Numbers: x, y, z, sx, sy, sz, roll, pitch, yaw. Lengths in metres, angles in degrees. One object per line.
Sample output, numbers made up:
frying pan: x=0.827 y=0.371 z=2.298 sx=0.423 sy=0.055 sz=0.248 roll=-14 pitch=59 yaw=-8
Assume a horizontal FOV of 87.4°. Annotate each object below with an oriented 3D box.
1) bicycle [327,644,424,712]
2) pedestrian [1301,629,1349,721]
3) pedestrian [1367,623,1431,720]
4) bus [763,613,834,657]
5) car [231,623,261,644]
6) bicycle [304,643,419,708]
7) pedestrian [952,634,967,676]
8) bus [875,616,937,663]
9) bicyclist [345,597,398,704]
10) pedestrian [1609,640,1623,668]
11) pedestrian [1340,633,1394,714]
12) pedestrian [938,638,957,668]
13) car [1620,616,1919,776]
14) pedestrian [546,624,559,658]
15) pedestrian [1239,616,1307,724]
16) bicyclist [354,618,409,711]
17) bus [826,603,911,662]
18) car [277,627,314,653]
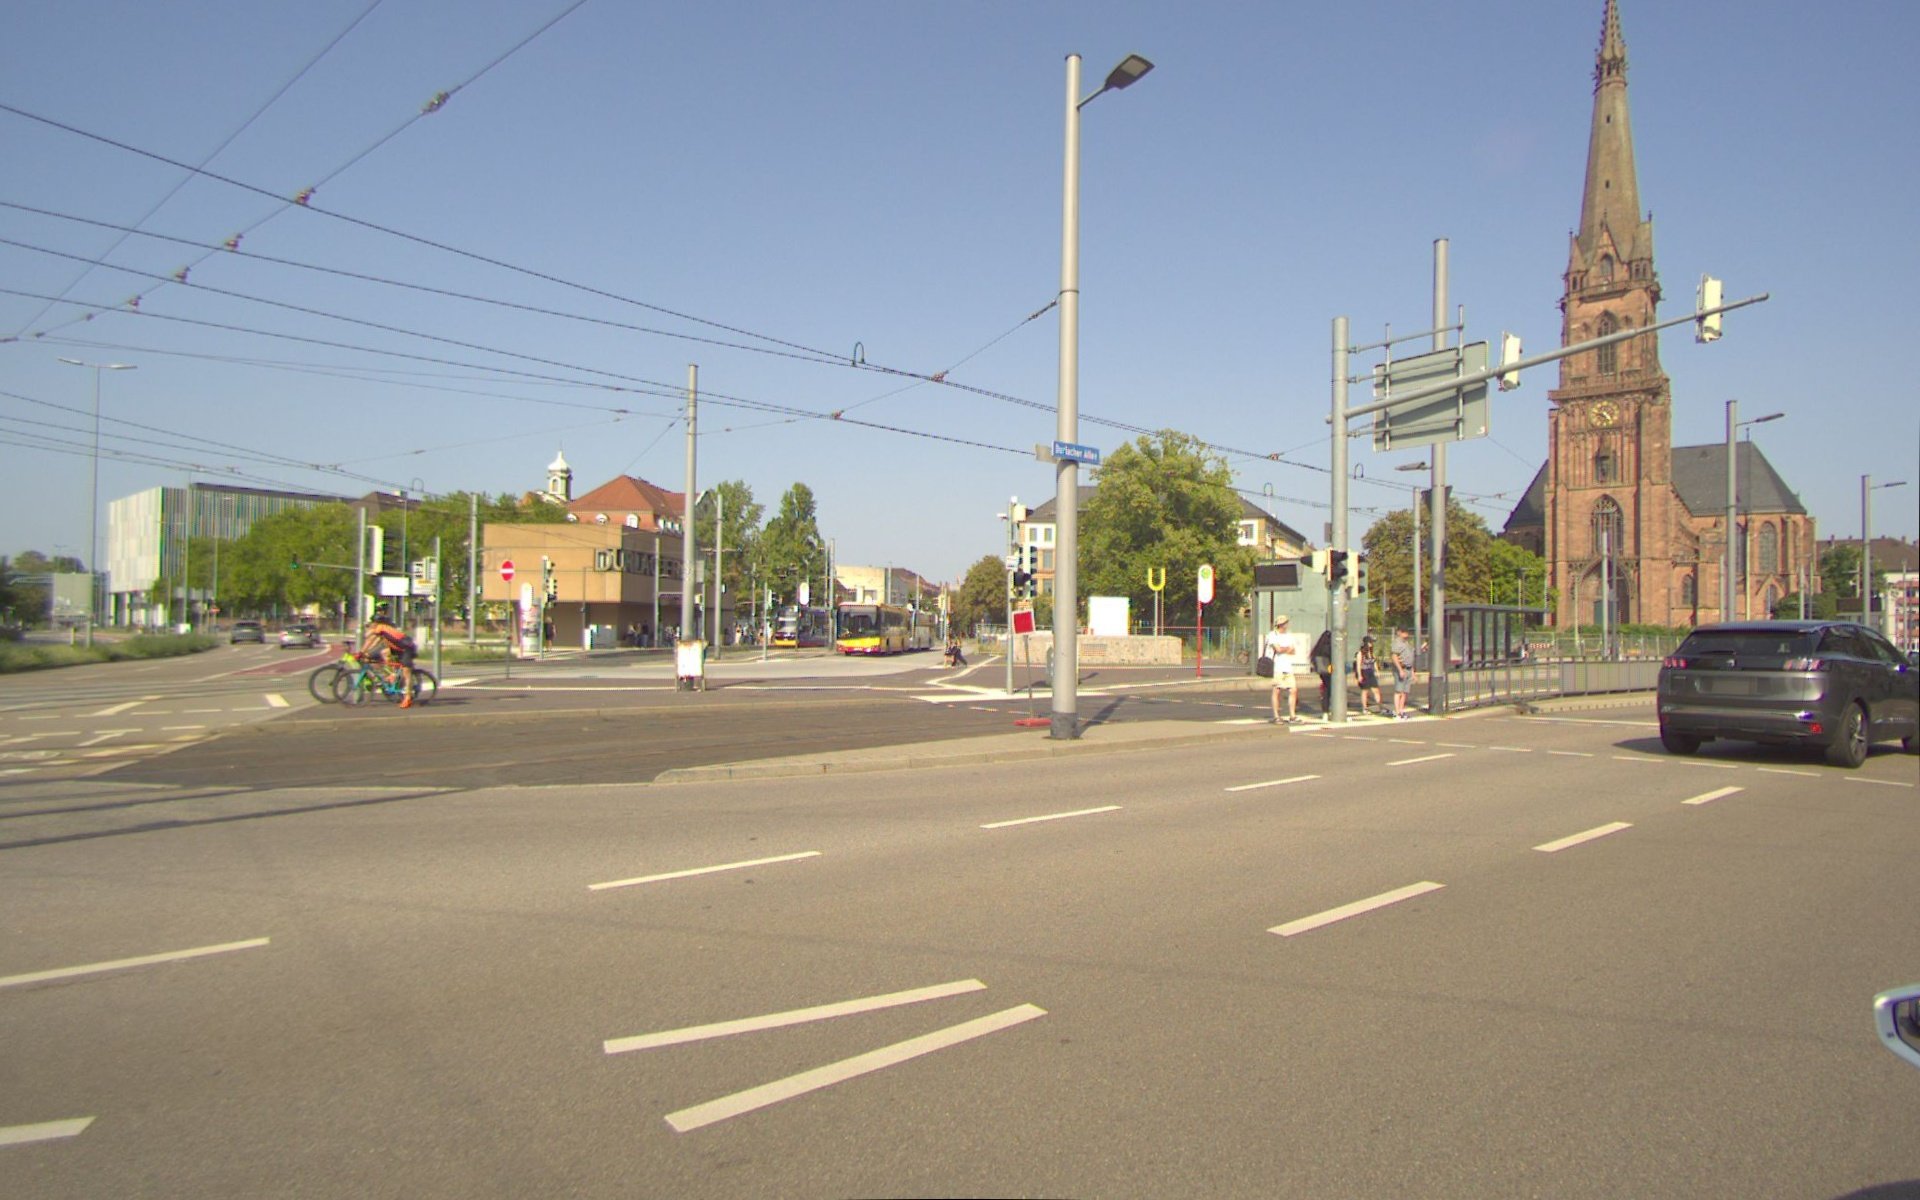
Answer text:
bicycle: x=-10.576 y=1.396 z=18.210 sx=1.477 sy=1.181 sz=0.310 roll=1 pitch=-1 yaw=-23
pedestrian: x=6.616 y=1.357 z=18.196 sx=0.464 sy=1.618 sz=0.627 roll=2 pitch=-5 yaw=-39
pedestrian: x=7.999 y=1.292 z=18.299 sx=0.645 sy=1.714 sz=0.808 roll=2 pitch=-4 yaw=-38
bus: x=-13.799 y=3.017 z=87.340 sx=3.160 sy=3.464 sz=13.324 roll=0 pitch=-2 yaw=4
car: x=-50.529 y=2.355 z=71.150 sx=1.477 sy=1.470 sz=3.493 roll=2 pitch=-2 yaw=-32
bicycle: x=-11.399 y=1.421 z=19.180 sx=1.832 sy=1.181 sz=0.375 roll=1 pitch=-1 yaw=-23
pedestrian: x=-0.019 y=2.387 z=43.655 sx=0.628 sy=1.783 sz=0.444 roll=0 pitch=-1 yaw=5
bus: x=-3.902 y=2.973 z=76.568 sx=3.160 sy=3.220 sz=13.324 roll=0 pitch=-2 yaw=4
bicyclist: x=-11.248 y=0.955 z=19.218 sx=0.796 sy=2.000 sz=0.578 roll=1 pitch=-1 yaw=-24
pedestrian: x=40.117 y=3.300 z=61.406 sx=0.659 sy=1.723 sz=0.513 roll=2 pitch=-2 yaw=-39
pedestrian: x=8.135 y=1.463 z=20.088 sx=0.543 sy=1.568 sz=0.802 roll=2 pitch=-4 yaw=-36
pedestrian: x=-0.539 y=2.339 z=44.236 sx=0.752 sy=1.309 sz=0.558 roll=0 pitch=-2 yaw=5
car: x=10.230 y=1.061 z=12.347 sx=4.310 sy=1.642 sz=1.982 roll=2 pitch=-2 yaw=-33
pedestrian: x=-21.742 y=2.201 z=53.587 sx=0.395 sy=1.792 sz=0.560 roll=0 pitch=-2 yaw=8
pedestrian: x=5.417 y=1.213 z=17.411 sx=0.720 sy=1.811 sz=0.829 roll=1 pitch=-4 yaw=-30
bicyclist: x=-10.477 y=1.158 z=18.211 sx=0.796 sy=1.652 sz=0.509 roll=1 pitch=-1 yaw=-24
bus: x=-5.352 y=2.025 z=61.993 sx=3.160 sy=3.220 sz=13.324 roll=0 pitch=-2 yaw=4
car: x=-40.323 y=2.392 z=61.016 sx=1.763 sy=1.528 sz=3.965 roll=2 pitch=-2 yaw=-32
